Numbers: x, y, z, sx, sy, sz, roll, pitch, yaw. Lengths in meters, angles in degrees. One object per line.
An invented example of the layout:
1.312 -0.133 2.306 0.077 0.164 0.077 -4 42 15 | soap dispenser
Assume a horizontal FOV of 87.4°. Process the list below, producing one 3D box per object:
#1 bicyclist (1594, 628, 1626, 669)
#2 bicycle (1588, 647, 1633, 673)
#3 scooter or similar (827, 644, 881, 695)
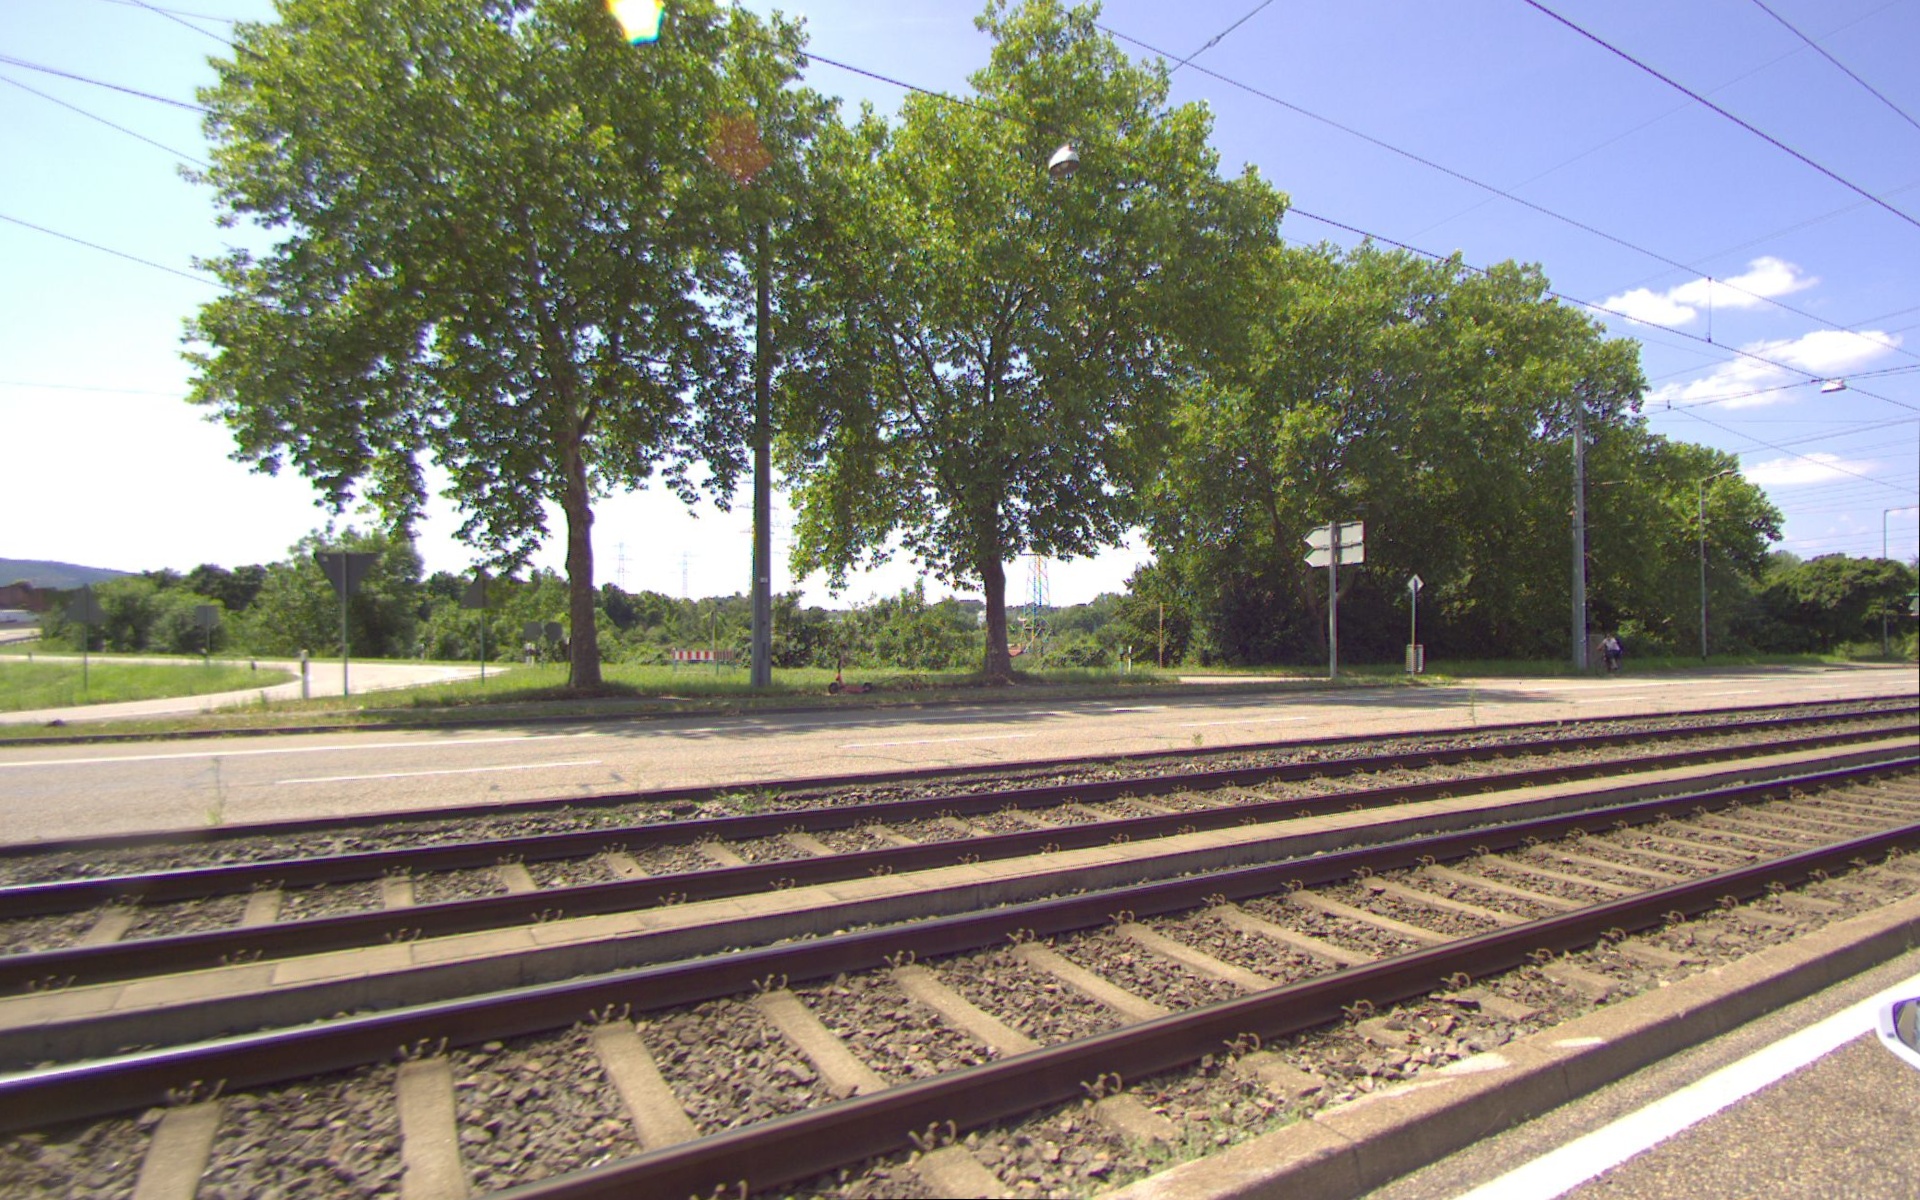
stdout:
24.886 1.857 38.445 1.147 1.538 0.618 1 -1 -32 | bicyclist
24.900 2.281 38.444 2.068 0.952 0.618 1 -2 -32 | bicycle
-2.554 1.671 24.281 1.222 1.166 0.458 1 0 -33 | scooter or similar
